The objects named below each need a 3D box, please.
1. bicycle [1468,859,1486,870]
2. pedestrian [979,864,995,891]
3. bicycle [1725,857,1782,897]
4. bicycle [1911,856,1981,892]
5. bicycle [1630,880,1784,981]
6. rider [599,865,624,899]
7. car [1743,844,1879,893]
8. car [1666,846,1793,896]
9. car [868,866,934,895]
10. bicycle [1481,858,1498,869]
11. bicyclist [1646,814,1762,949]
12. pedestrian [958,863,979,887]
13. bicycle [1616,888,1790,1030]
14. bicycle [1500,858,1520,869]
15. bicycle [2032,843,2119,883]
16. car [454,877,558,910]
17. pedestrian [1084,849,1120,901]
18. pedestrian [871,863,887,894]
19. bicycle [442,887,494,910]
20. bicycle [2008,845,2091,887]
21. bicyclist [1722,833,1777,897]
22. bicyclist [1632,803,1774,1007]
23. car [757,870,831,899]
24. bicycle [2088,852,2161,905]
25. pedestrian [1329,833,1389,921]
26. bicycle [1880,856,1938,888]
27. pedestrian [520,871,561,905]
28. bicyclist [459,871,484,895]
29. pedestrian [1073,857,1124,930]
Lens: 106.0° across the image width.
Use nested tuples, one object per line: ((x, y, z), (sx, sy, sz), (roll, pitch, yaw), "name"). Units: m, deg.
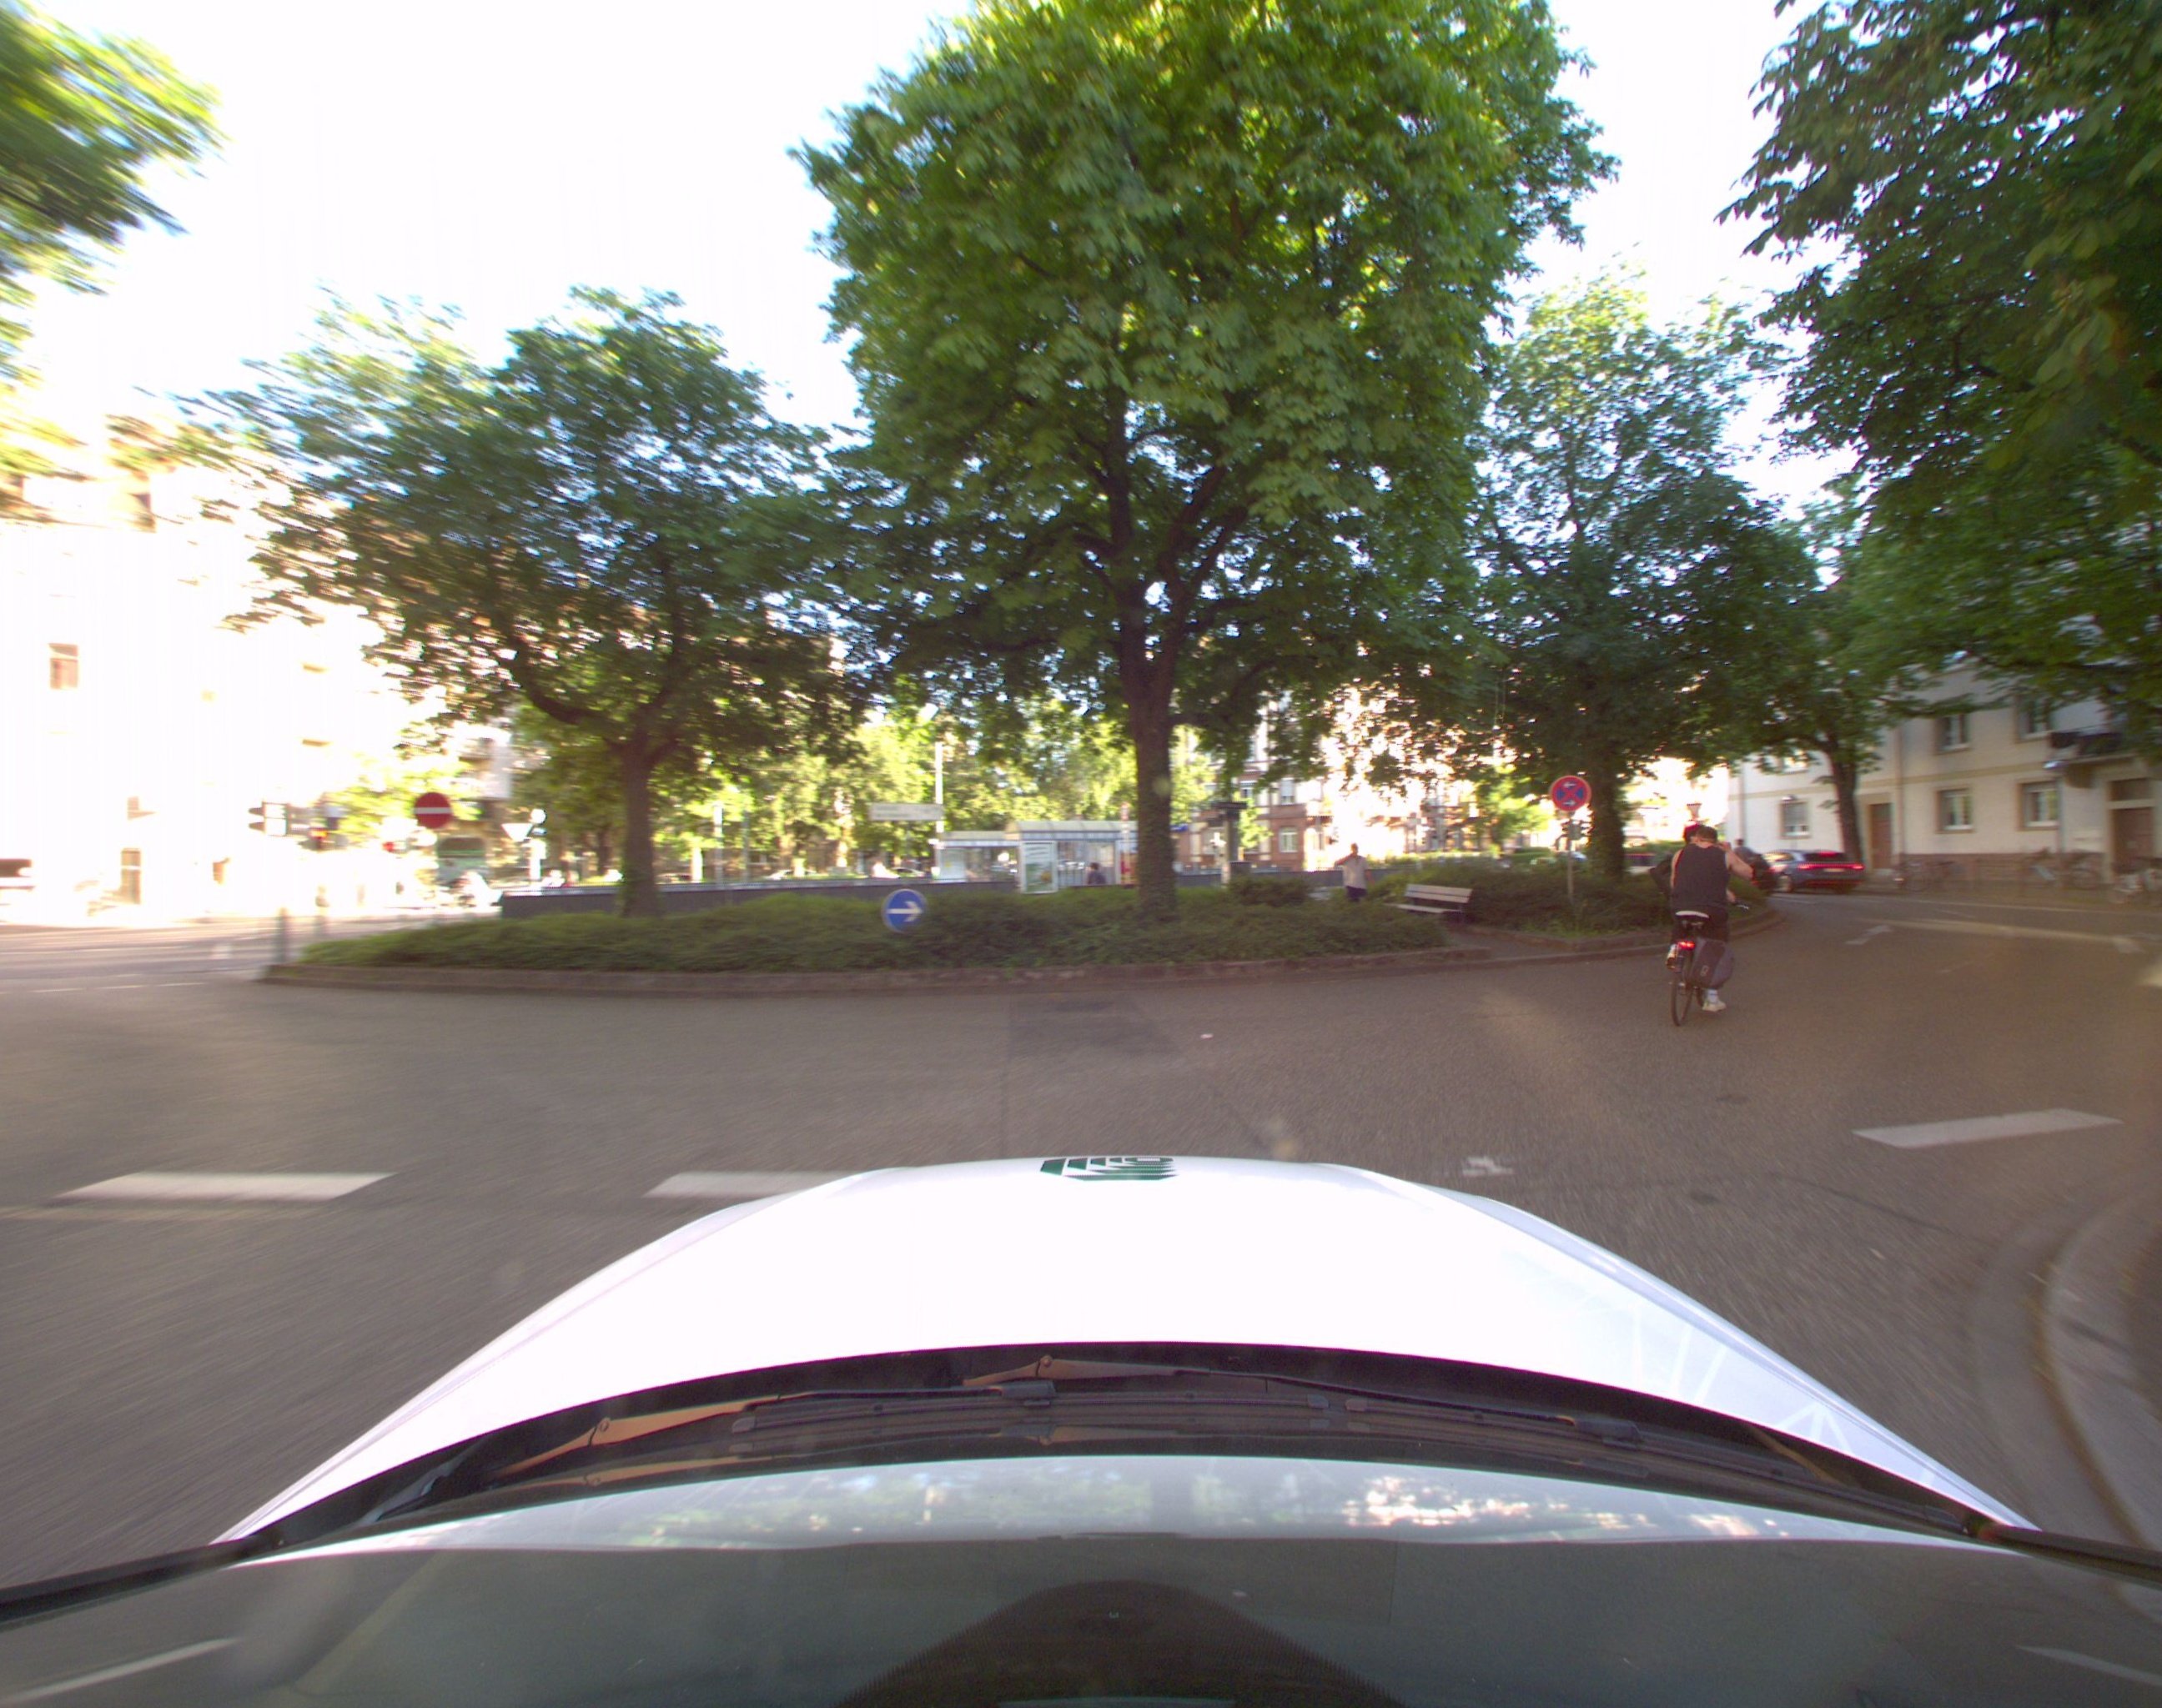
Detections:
((31.068, 0.822, 63.930), (1.220, 0.862, 0.449), (-1, -1, -11), "bicycle")
((-5.561, 1.391, 48.333), (0.811, 1.544, 0.816), (1, -1, -17), "pedestrian")
((20.410, 0.672, 24.764), (0.593, 1.162, 2.051), (-2, -1, 18), "bicycle")
((27.031, 0.601, 25.492), (0.611, 1.058, 1.937), (-4, -1, 18), "bicycle")
((7.471, 0.862, 9.697), (2.067, 1.054, 0.670), (0, -2, -30), "bicycle")
((-23.639, 1.388, 41.022), (0.815, 1.681, 0.671), (1, -1, 4), "rider")
((25.475, 0.483, 28.614), (1.878, 1.577, 4.015), (-2, -1, 14), "car")
((22.445, 0.594, 28.379), (1.801, 1.543, 3.971), (-3, -2, 12), "car")
((-12.534, 1.820, 56.752), (4.014, 1.871, 1.980), (-1, -1, -32), "car")
((32.231, 0.762, 64.244), (1.220, 0.862, 0.449), (-1, -1, -11), "bicycle")
((7.411, 0.315, 9.689), (1.072, 1.514, 0.667), (-1, -2, -29), "bicyclist")
((-8.009, 1.476, 57.857), (1.070, 1.630, 0.992), (-1, -1, -39), "pedestrian")
((5.684, 0.874, 7.394), (2.071, 1.012, 0.732), (-1, 0, -38), "bicycle")
((34.442, 0.768, 65.330), (1.442, 0.862, 0.449), (-1, -1, -11), "bicycle")
((29.333, 0.256, 24.066), (0.577, 1.114, 2.128), (-3, -1, 20), "bicycle")
((-27.976, 1.892, 39.762), (1.879, 1.439, 3.725), (-2, 0, 20), "car")
((0.780, 0.778, 30.876), (1.022, 1.897, 0.904), (-1, -1, -28), "pedestrian")
((-11.188, 1.361, 45.135), (0.706, 1.695, 0.665), (1, -1, -28), "pedestrian")
((-27.748, 2.019, 36.890), (0.647, 0.945, 1.751), (-2, -1, 22), "bicycle")
((28.762, 0.357, 24.240), (0.490, 1.172, 2.127), (-6, -2, 19), "bicycle")
((20.397, 0.340, 24.866), (0.844, 1.898, 1.144), (-2, -1, 16), "bicyclist")
((5.553, 0.420, 7.270), (0.917, 1.682, 0.746), (-1, -1, -37), "bicyclist")
((-18.263, 1.903, 51.943), (1.929, 1.679, 3.974), (-2, -1, 40), "car")
((24.231, 0.532, 18.652), (0.610, 1.113, 2.004), (-6, -2, 27), "bicycle")
((5.503, 0.456, 16.179), (0.911, 1.684, 0.781), (-2, -1, 4), "pedestrian")
((27.457, 0.584, 27.044), (0.515, 0.999, 2.203), (-2, -1, 23), "bicycle")
((-31.477, 1.956, 47.446), (1.245, 1.912, 1.502), (-2, -1, 23), "pedestrian")
((-27.711, 1.323, 37.017), (0.605, 1.054, 0.680), (-2, -1, 21), "bicyclist")
((0.422, 0.940, 19.607), (0.888, 1.684, 0.824), (-2, -1, 28), "pedestrian")
